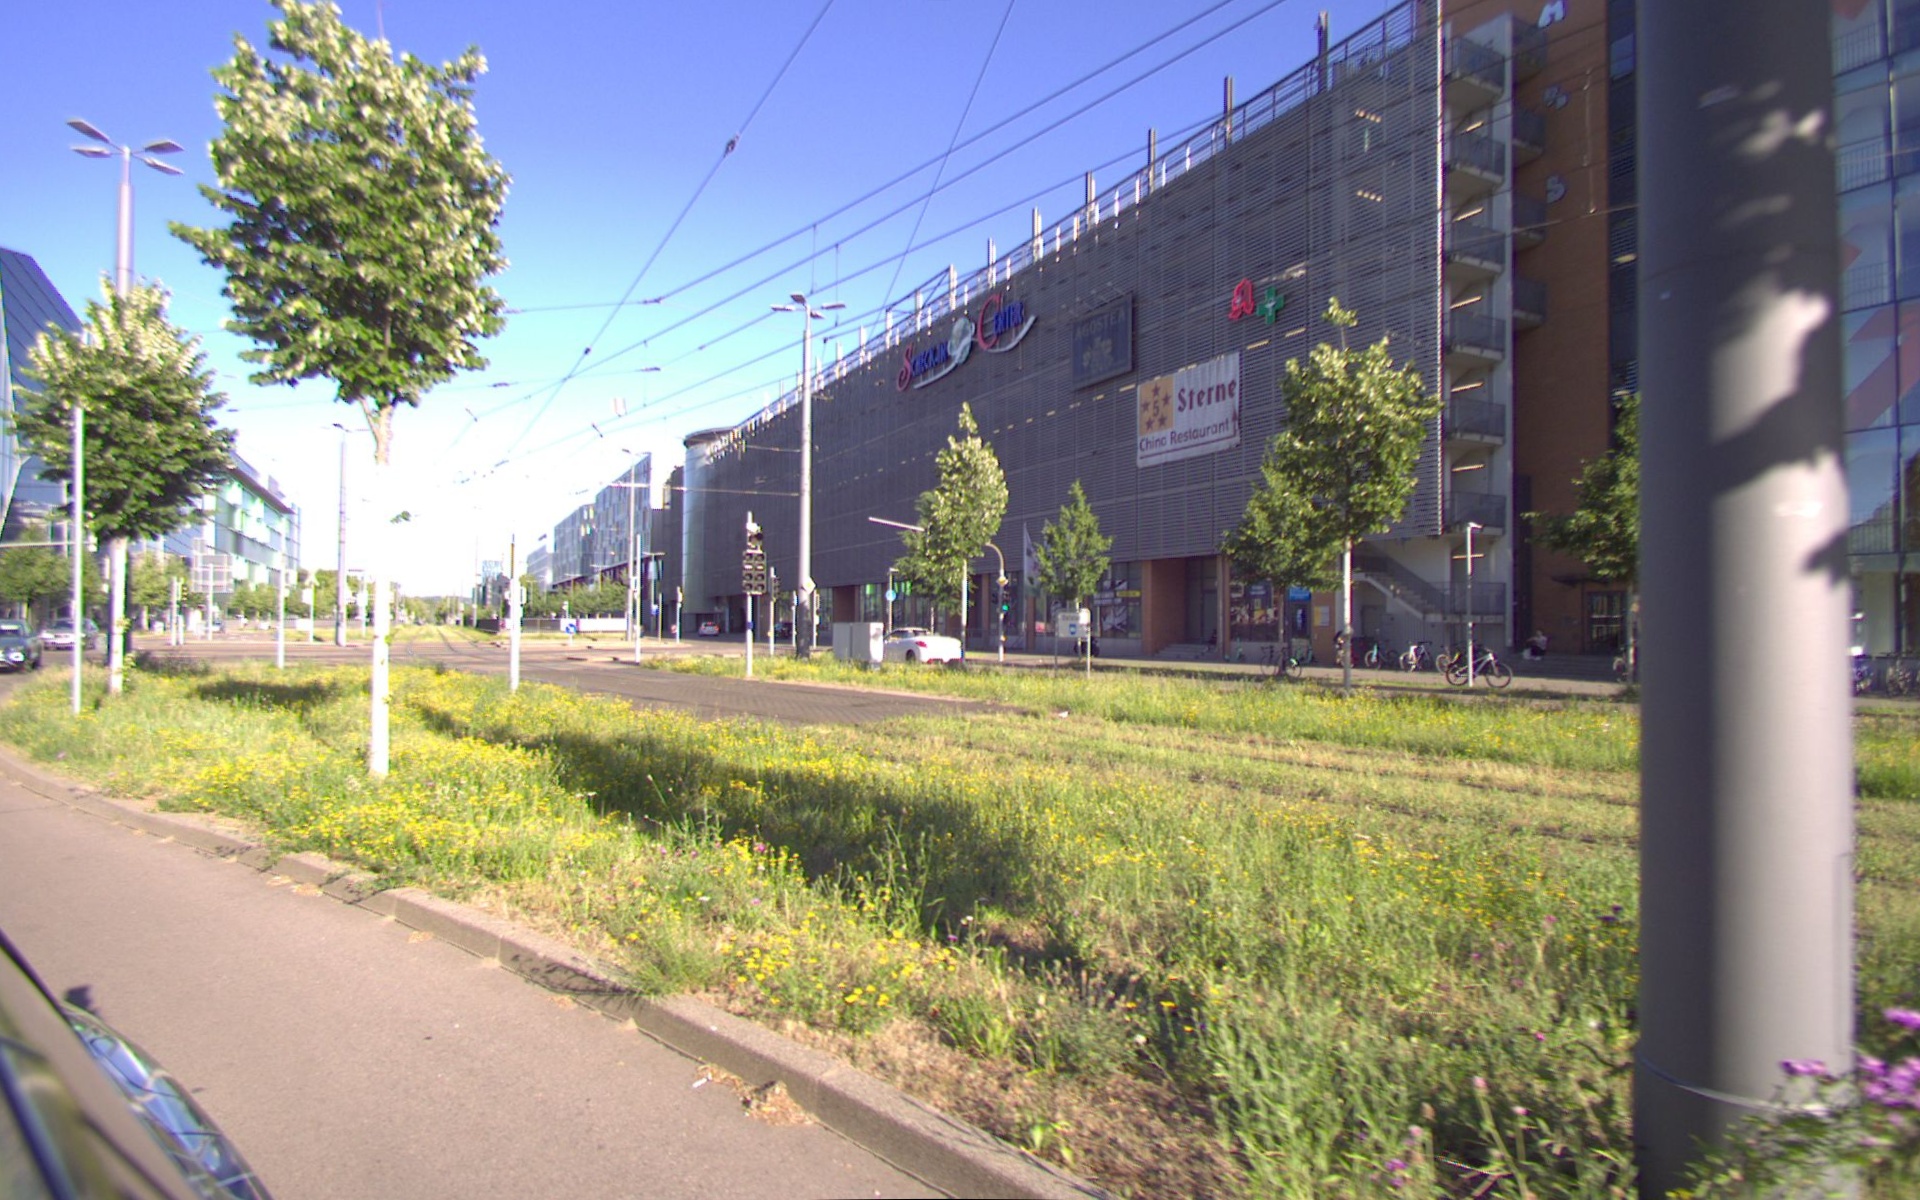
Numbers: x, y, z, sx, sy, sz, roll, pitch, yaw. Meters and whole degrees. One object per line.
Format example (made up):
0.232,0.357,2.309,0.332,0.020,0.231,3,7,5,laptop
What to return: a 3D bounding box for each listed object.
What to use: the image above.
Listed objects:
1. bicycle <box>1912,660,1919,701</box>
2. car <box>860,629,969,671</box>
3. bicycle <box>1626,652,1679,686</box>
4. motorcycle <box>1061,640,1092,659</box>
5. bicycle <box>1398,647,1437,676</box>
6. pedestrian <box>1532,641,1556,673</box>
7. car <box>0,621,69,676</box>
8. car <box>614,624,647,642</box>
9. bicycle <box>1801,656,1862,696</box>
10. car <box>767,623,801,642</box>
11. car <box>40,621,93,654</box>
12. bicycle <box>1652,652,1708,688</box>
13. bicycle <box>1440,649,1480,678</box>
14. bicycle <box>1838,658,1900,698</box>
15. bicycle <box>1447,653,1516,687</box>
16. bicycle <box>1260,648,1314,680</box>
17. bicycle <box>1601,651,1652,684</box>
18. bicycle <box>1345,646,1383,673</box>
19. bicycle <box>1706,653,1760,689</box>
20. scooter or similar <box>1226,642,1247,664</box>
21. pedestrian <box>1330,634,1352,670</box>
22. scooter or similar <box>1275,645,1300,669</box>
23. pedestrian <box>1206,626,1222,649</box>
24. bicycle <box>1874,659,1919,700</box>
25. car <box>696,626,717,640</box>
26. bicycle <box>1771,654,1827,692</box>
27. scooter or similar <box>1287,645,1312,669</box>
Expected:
22.975,1.877,23.630,1.741,0.933,0.566,1,-2,-29,bicycle
-1.633,1.689,34.840,1.781,1.338,4.417,2,-2,-32,car
19.843,1.958,28.996,1.741,0.933,0.492,1,-2,-29,bicycle
5.801,2.446,50.352,0.421,0.927,2.031,1,-2,-29,motorcycle
15.627,2.089,34.573,1.376,0.933,0.463,1,-2,-29,bicycle
19.850,1.925,34.405,0.619,1.063,0.450,1,-2,-32,pedestrian
-28.301,1.409,30.063,1.720,1.516,3.893,0,-1,-25,car
-30.309,3.064,92.966,1.781,1.587,4.305,2,-2,-34,car
21.939,1.904,25.467,1.741,0.933,0.566,1,-2,-29,bicycle
-15.325,2.782,87.939,1.558,1.541,3.761,0,-1,-33,car
-41.160,1.684,46.688,1.595,1.440,3.775,0,-1,-38,car
20.189,1.948,28.370,1.741,0.933,0.566,1,-2,-29,bicycle
16.519,2.079,33.431,1.376,0.933,0.463,1,-2,-29,bicycle
22.299,1.895,24.819,1.741,0.933,0.566,1,-2,-29,bicycle
14.605,1.940,28.383,0.380,0.875,1.776,1,-2,-32,bicycle
10.108,1.965,31.337,0.380,0.930,1.776,1,-2,-32,bicycle
19.491,1.967,29.592,1.741,0.933,0.492,1,-2,-29,bicycle
14.206,2.082,35.552,1.376,0.933,0.463,1,-2,-29,bicycle
20.842,1.908,27.284,1.741,0.933,0.492,1,-2,-29,bicycle
11.485,2.200,42.071,0.286,0.900,0.904,1,-2,-28,scooter or similar
13.931,1.907,37.010,0.442,1.299,0.631,1,-2,-32,pedestrian
12.704,2.208,39.316,0.892,0.900,0.290,0,-2,12,scooter or similar
11.420,1.672,45.510,0.557,1.046,0.425,1,-2,-22,pedestrian
22.624,1.886,24.222,1.741,0.933,0.566,1,-2,-29,bicycle
-25.926,3.346,103.506,1.663,1.382,3.602,1,-2,-20,car
21.627,1.860,26.081,1.741,0.933,0.492,1,-2,-29,bicycle
12.915,2.170,38.506,0.891,0.900,0.290,0,-2,9,scooter or similar
